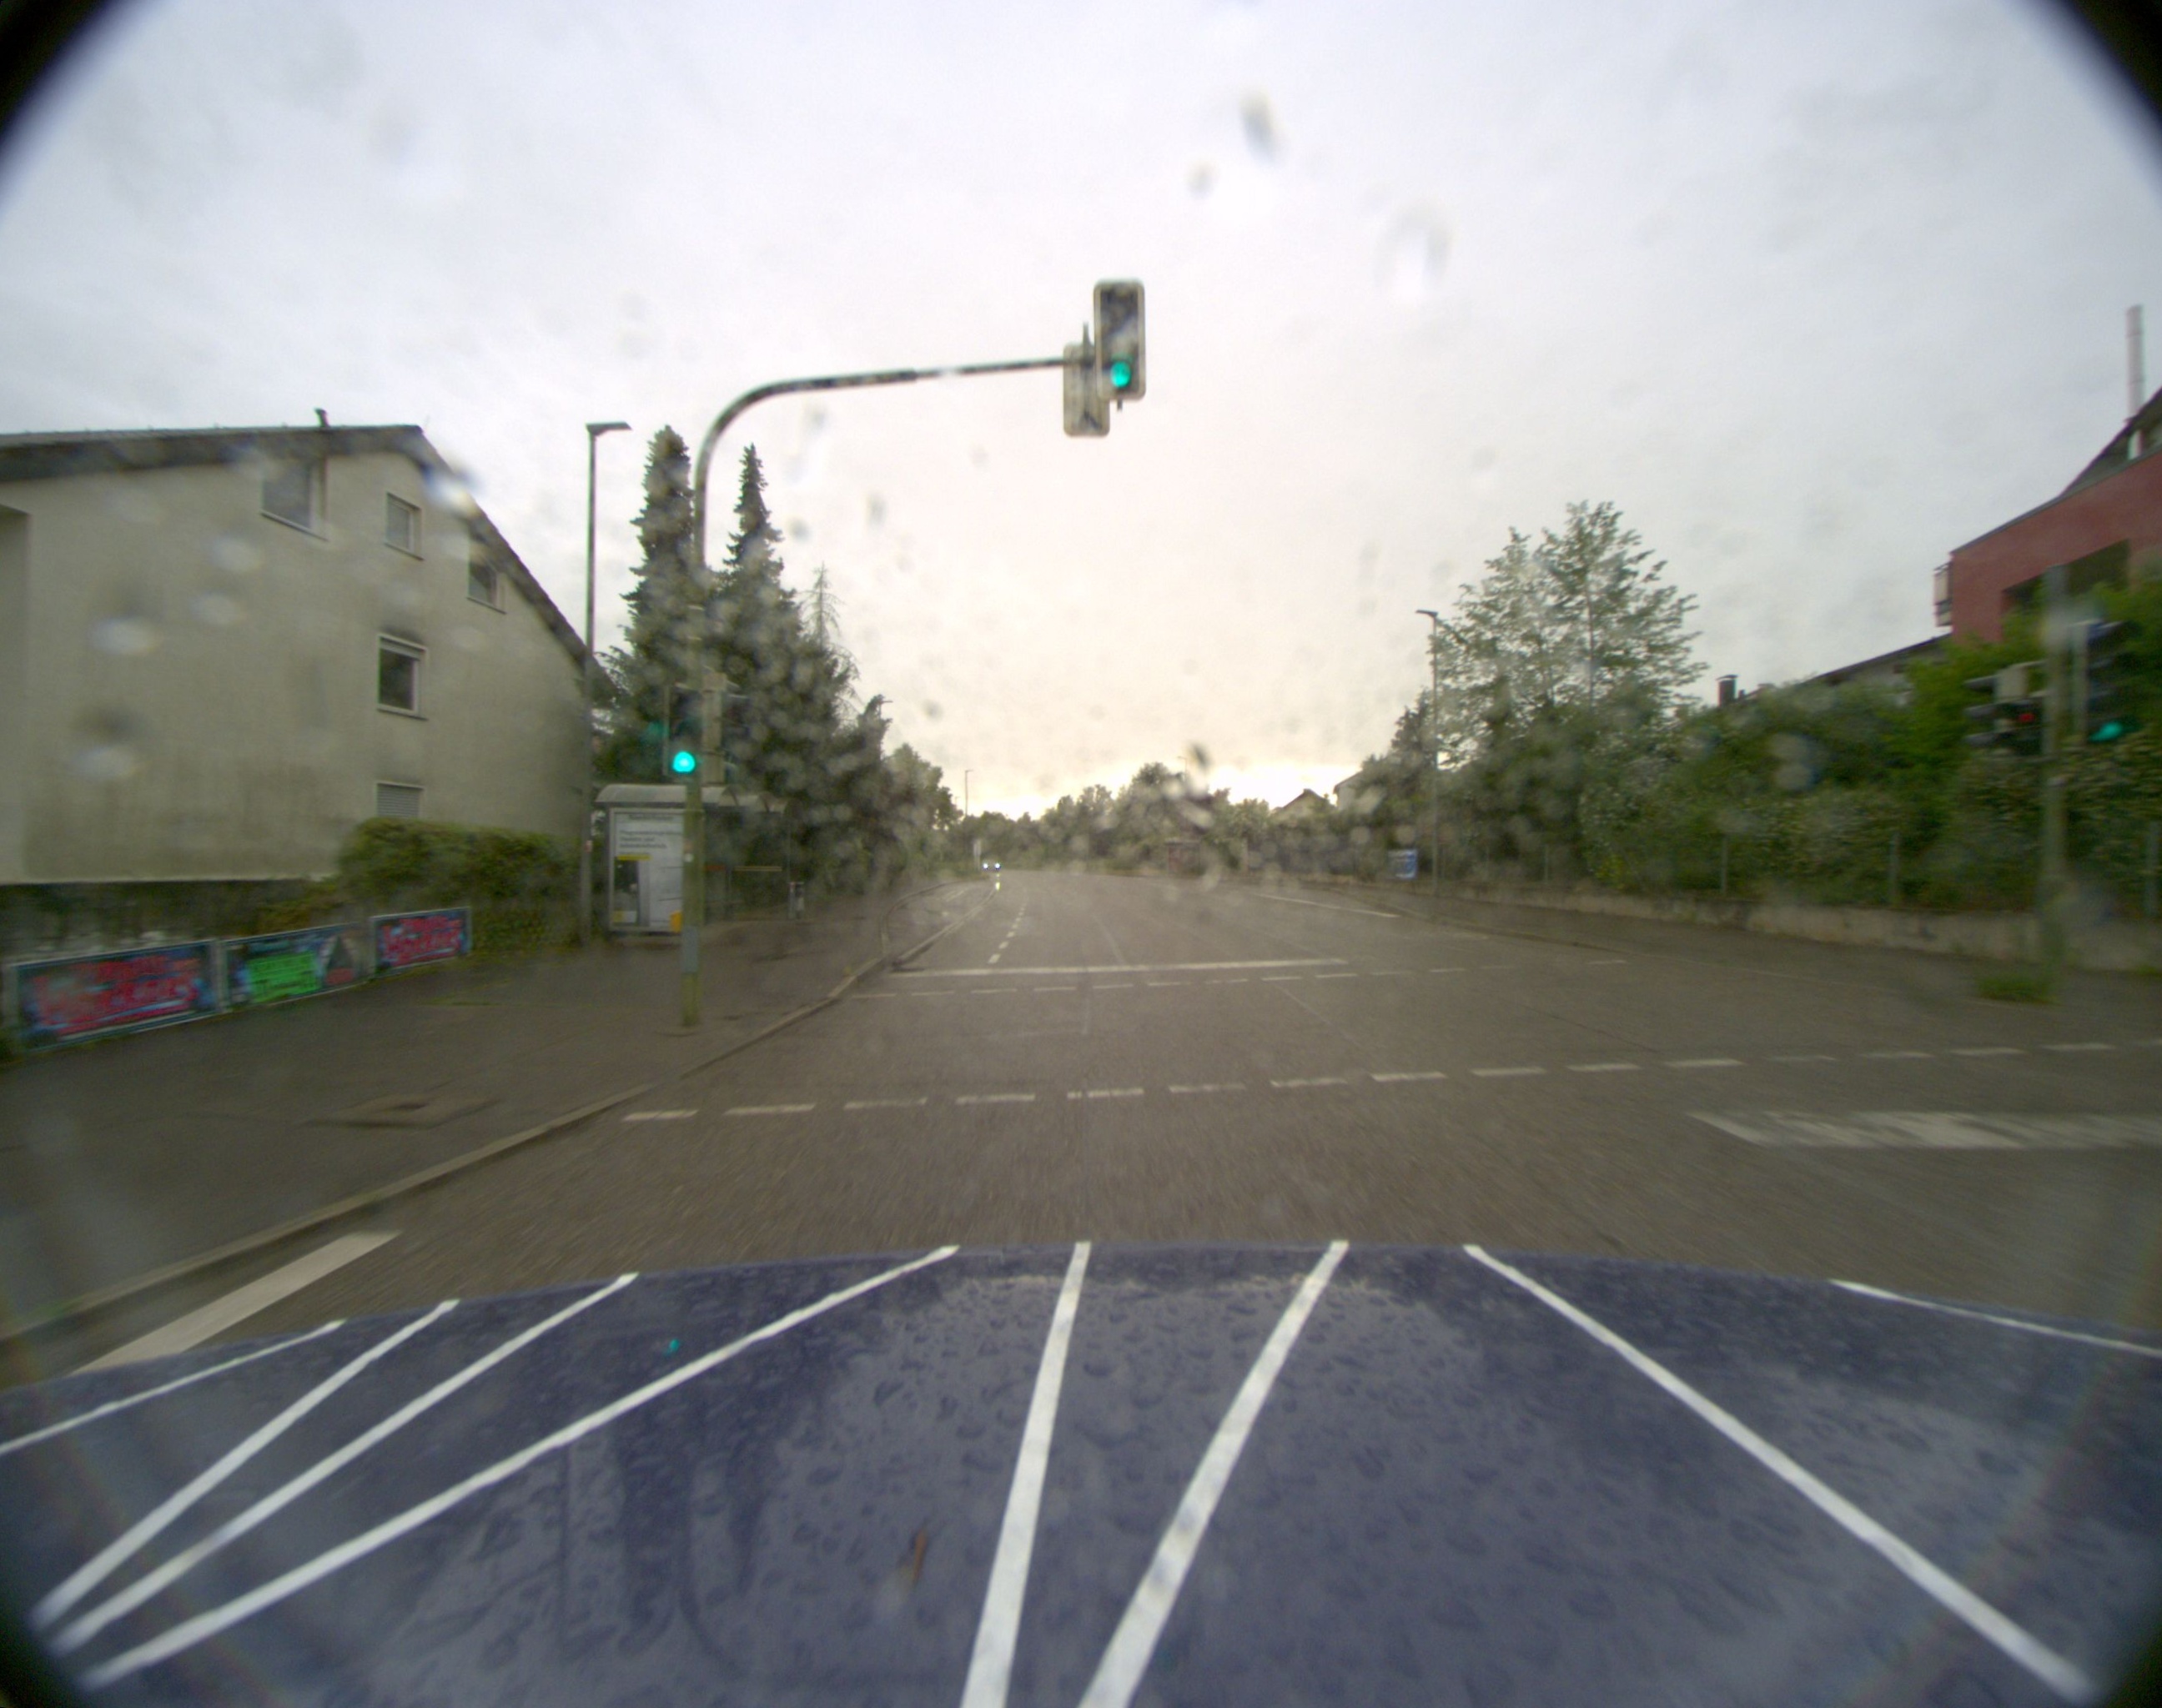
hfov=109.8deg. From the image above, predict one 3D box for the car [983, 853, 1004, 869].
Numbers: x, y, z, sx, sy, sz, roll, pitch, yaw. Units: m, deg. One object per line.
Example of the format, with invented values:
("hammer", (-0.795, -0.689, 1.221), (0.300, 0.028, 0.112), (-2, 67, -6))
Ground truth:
("car", (-10.295, 0.833, 89.018), (2.001, 1.831, 3.996), (0, -1, -12))
